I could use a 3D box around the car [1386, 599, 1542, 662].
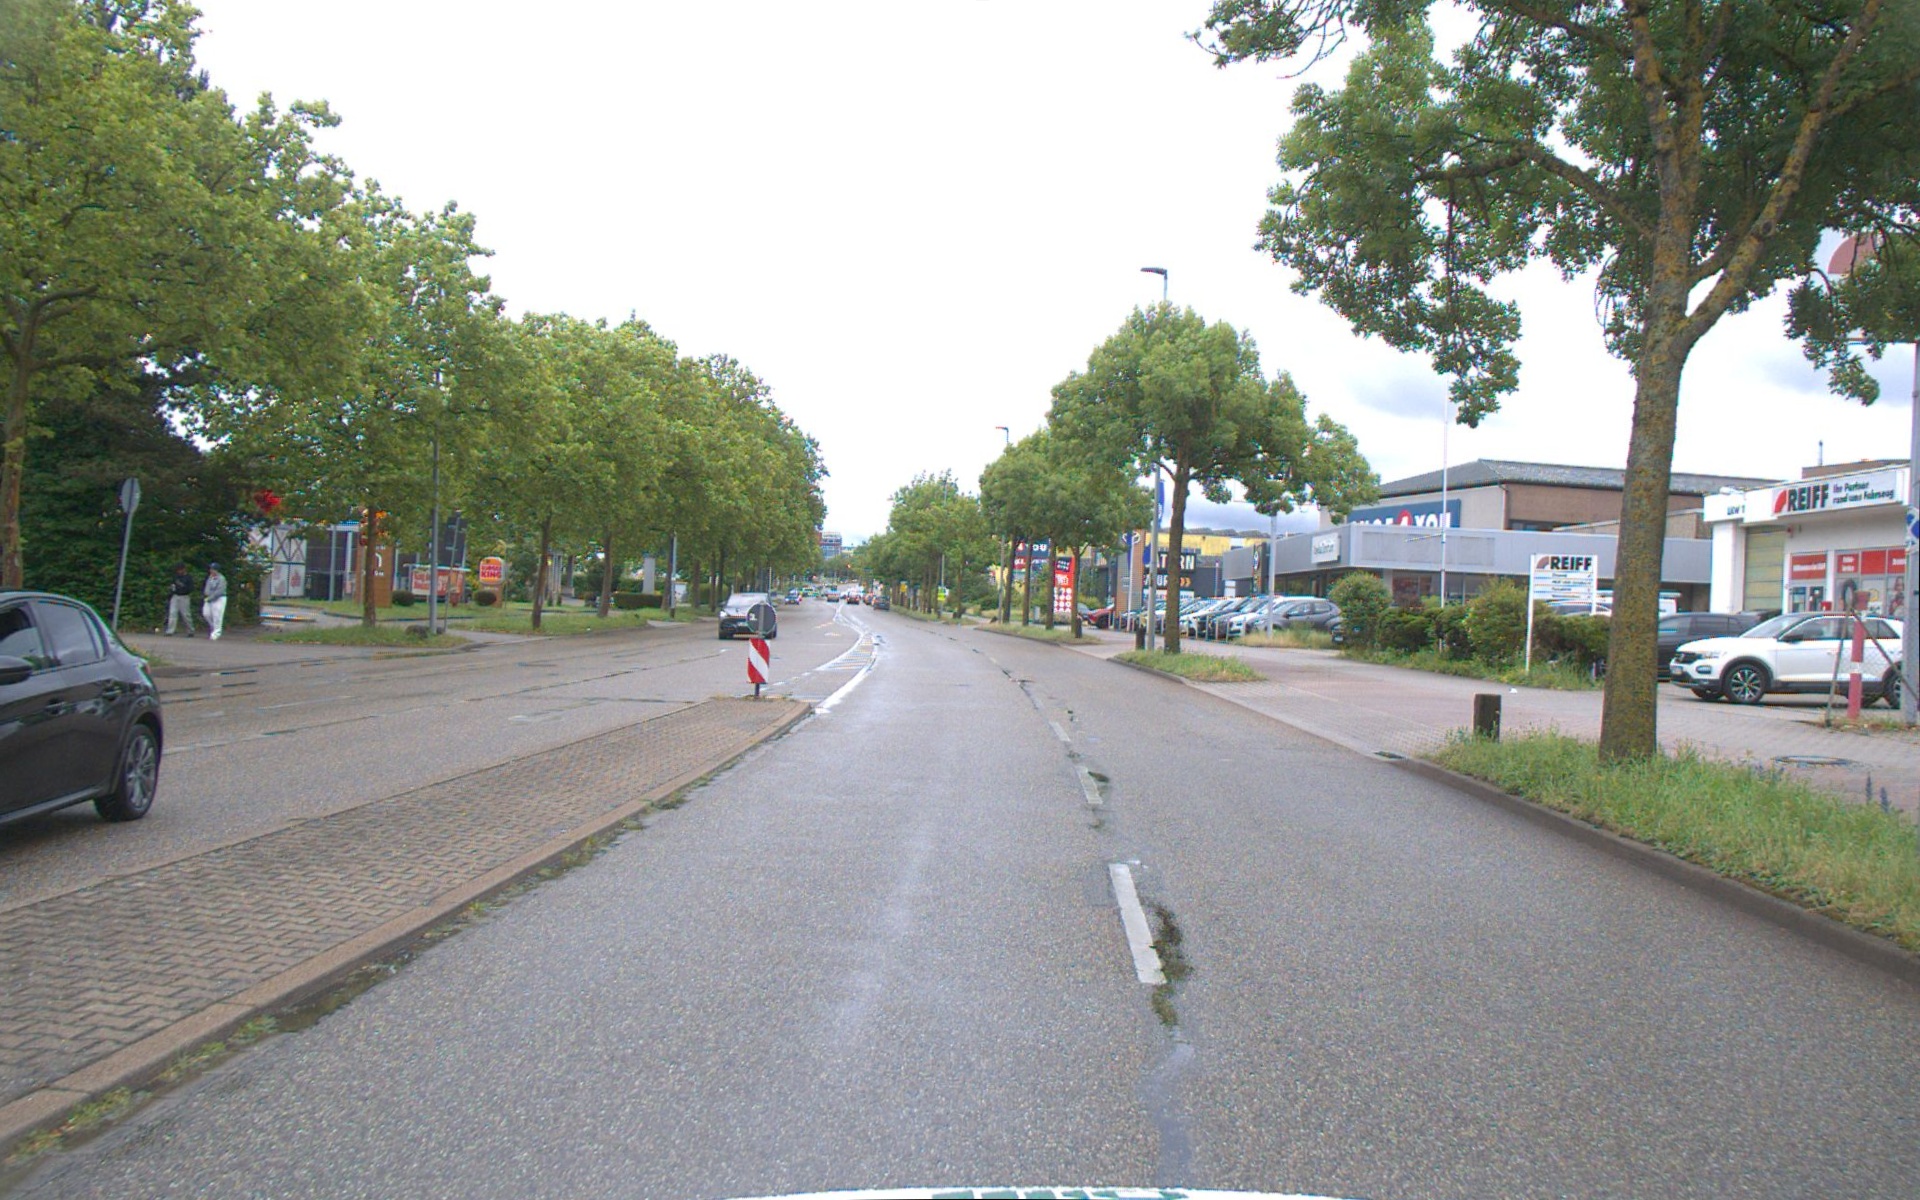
[{"bbox_3d":[13.714,0.809,45.131,3.969,1.625,1.986,1,0,17],"label":"car"}]

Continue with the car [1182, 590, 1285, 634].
[{"bbox_3d":[11.536,0.495,69.838,3.910,1.615,1.810,-3,1,-5],"label":"car"}]

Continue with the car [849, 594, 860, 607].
[{"bbox_3d":[-16.302,0.090,255.851,1.710,2.049,3.998,1,0,-3],"label":"car"}]

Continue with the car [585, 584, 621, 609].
[{"bbox_3d":[-23.355,-0.236,108.212,1.788,1.512,3.935,1,0,-5],"label":"car"}]

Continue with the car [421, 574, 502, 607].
[{"bbox_3d":[-22.044,-0.419,73.227,3.109,1.175,1.291,5,0,4],"label":"car"}]

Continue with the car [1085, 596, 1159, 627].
[{"bbox_3d":[8.904,0.644,91.043,3.765,1.632,1.794,-1,0,-4],"label":"car"}]

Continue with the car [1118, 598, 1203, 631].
[{"bbox_3d":[10.006,0.725,82.681,3.908,1.565,1.798,1,0,-4],"label":"car"}]

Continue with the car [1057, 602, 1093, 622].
[{"bbox_3d":[9.119,0.927,131.460,1.551,1.453,4.251,2,0,-14],"label":"car"}]

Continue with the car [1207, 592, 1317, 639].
[{"bbox_3d":[11.830,0.598,64.938,3.907,1.612,1.811,-3,0,-2],"label":"car"}]

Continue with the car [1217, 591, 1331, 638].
[{"bbox_3d":[11.888,0.542,62.730,3.907,1.570,1.811,-3,0,-2],"label":"car"}]

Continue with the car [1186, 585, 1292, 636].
[{"bbox_3d":[11.272,0.417,66.962,3.907,1.817,1.811,-3,0,-2],"label":"car"}]

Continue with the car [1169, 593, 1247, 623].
[{"bbox_3d":[13.669,0.433,91.154,4.024,1.650,1.880,0,0,0],"label":"car"}]

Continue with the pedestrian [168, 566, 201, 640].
[{"bbox_3d":[-18.219,0.070,38.843,0.501,1.712,0.540,1,0,-2],"label":"pedestrian"}]

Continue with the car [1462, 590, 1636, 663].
[{"bbox_3d":[14.947,0.633,42.069,4.056,1.691,1.822,1,2,20],"label":"car"}]

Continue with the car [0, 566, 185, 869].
[{"bbox_3d":[-5.714,0.578,8.872,1.611,1.534,3.888,1,0,-6],"label":"car"}]

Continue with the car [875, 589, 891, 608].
[{"bbox_3d":[-8.767,-0.140,188.084,1.710,2.049,3.998,1,0,-3],"label":"car"}]

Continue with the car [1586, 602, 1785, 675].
[{"bbox_3d":[16.376,0.855,37.509,3.844,1.550,1.734,1,0,11],"label":"car"}]

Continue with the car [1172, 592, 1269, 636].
[{"bbox_3d":[11.408,0.600,72.567,3.906,1.818,1.811,1,0,-2],"label":"car"}]

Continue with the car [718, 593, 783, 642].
[{"bbox_3d":[-7.288,0.610,57.802,1.775,1.589,4.596,1,-1,-2],"label":"car"}]

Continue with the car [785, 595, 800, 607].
[{"bbox_3d":[-21.162,0.078,209.125,1.768,1.488,3.843,1,0,-4],"label":"car"}]

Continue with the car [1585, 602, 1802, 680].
[{"bbox_3d":[15.448,0.836,35.020,3.902,1.549,1.719,1,0,11],"label":"car"}]

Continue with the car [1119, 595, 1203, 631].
[{"bbox_3d":[9.810,0.609,80.744,3.765,1.593,1.664,-2,0,-7],"label":"car"}]

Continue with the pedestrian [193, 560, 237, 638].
[{"bbox_3d":[-17.465,-0.018,38.772,0.651,1.797,0.583,2,0,19],"label":"pedestrian"}]

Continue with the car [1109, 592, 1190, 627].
[{"bbox_3d":[9.738,0.487,85.141,3.908,1.676,1.844,-1,0,-4],"label":"car"}]

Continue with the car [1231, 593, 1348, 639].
[{"bbox_3d":[11.940,0.581,60.033,3.758,1.487,1.826,-2,0,-5],"label":"car"}]

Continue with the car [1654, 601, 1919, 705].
[{"bbox_3d":[14.076,0.861,27.720,4.086,1.579,1.891,2,0,5],"label":"car"}]

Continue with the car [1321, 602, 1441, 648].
[{"bbox_3d":[14.371,0.852,56.591,3.606,1.489,1.793,1,0,-4],"label":"car"}]

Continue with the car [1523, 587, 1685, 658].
[{"bbox_3d":[21.183,0.722,54.496,4.561,2.187,1.963,1,0,-4],"label":"car"}]
